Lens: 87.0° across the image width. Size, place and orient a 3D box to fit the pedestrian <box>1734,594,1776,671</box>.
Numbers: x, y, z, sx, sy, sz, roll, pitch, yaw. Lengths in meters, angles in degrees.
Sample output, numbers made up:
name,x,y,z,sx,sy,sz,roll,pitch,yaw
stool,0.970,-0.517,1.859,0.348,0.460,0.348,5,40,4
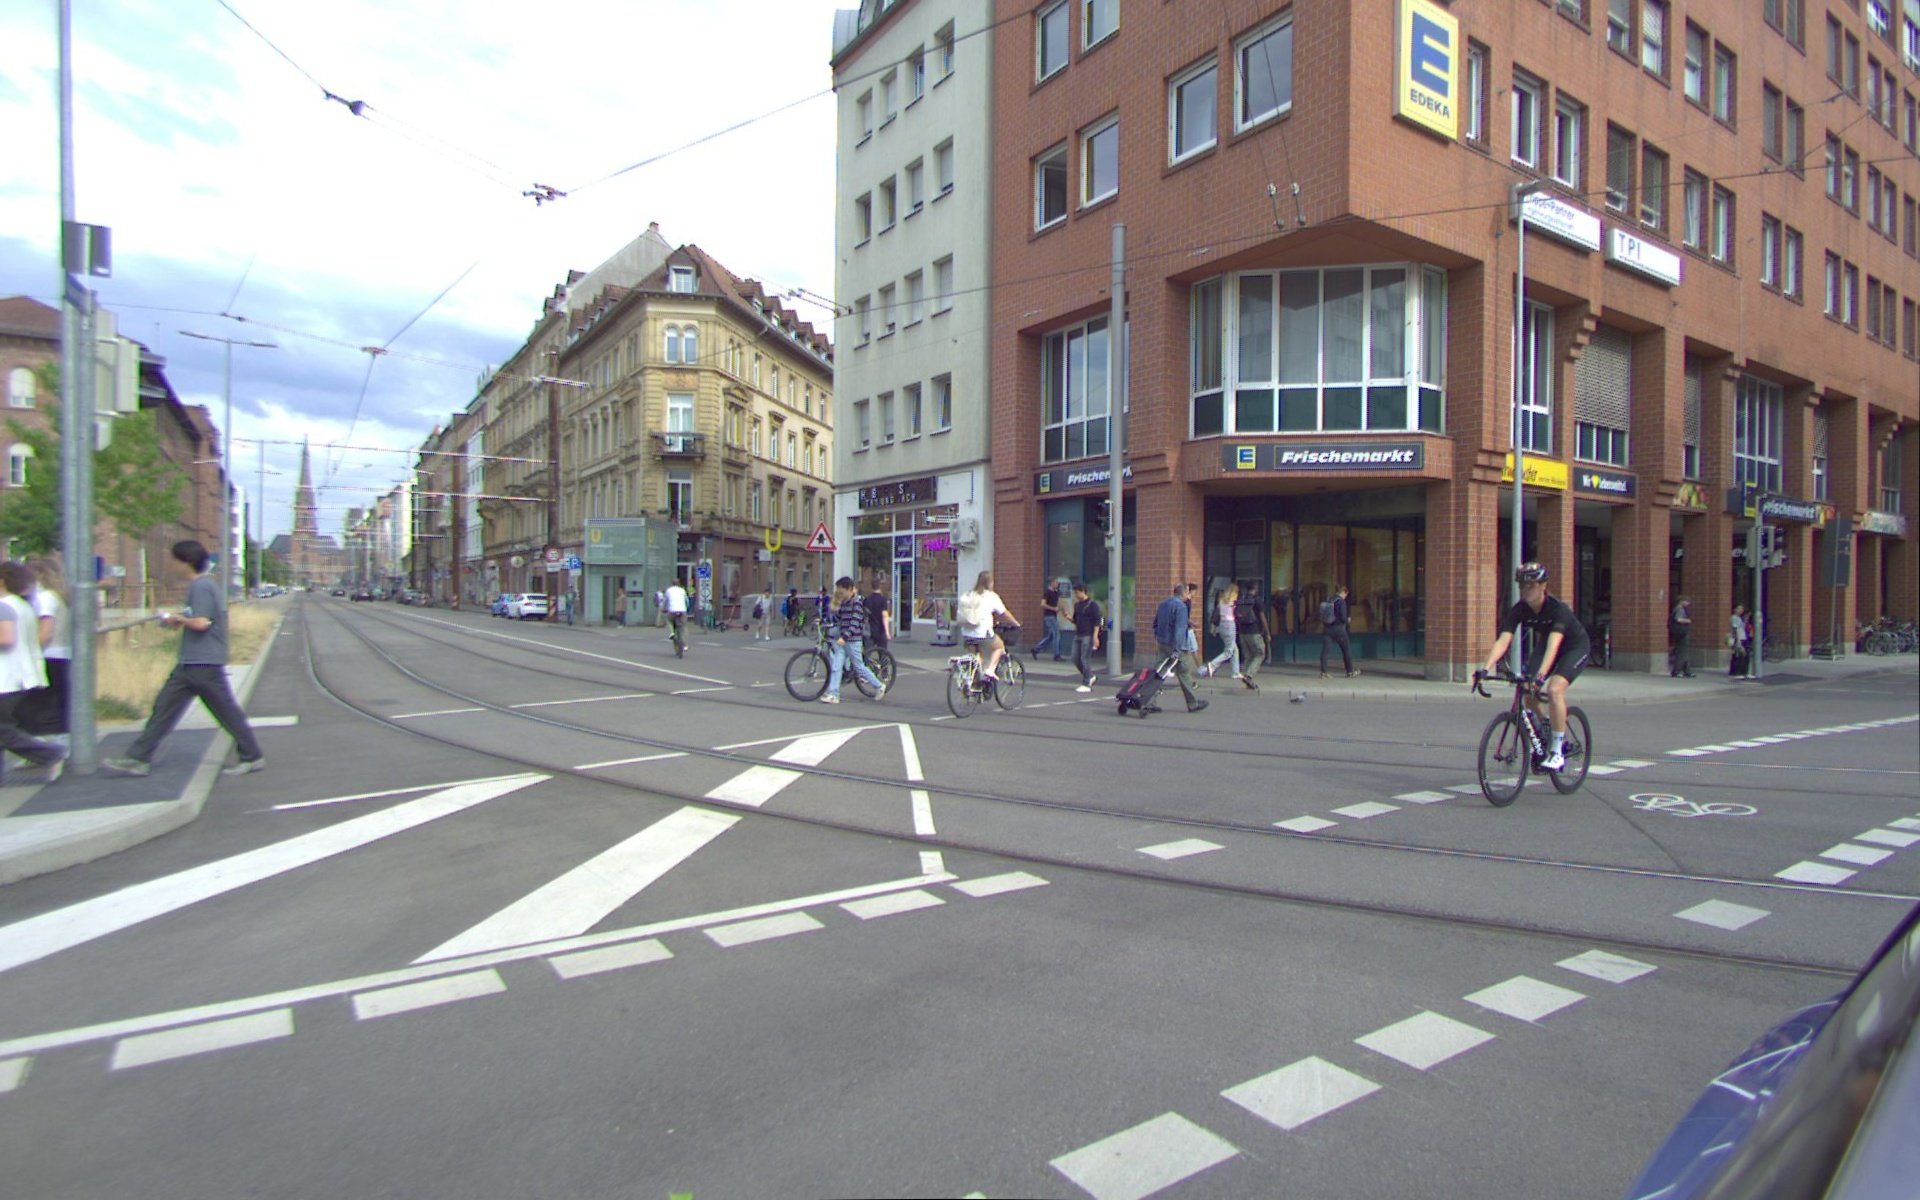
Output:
name,x,y,z,sx,sy,sz,roll,pitch,yaw
pedestrian,17.501,0.704,22.284,0.717,1.652,0.408,1,2,-26

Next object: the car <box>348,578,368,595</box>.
name,x,y,z,sx,sy,sz,roll,pitch,yaw
car,-73.529,-1.682,123.636,1.921,1.928,4.001,0,-1,-33

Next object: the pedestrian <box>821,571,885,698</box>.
name,x,y,z,sx,sy,sz,roll,pitch,yaw
pedestrian,-1.485,0.467,14.031,0.712,1.707,0.521,1,0,-33

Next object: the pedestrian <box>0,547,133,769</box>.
name,x,y,z,sx,sy,sz,roll,pitch,yaw
pedestrian,-7.340,0.442,8.306,0.631,1.716,0.697,1,0,36

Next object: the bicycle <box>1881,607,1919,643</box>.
name,x,y,z,sx,sy,sz,roll,pitch,yaw
bicycle,31.145,0.823,32.786,0.524,1.125,1.862,1,1,-33

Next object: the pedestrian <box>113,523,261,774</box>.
name,x,y,z,sx,sy,sz,roll,pitch,yaw
pedestrian,-6.128,0.360,8.068,0.860,1.878,0.641,1,0,-34

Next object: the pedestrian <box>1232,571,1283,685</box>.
name,x,y,z,sx,sy,sz,roll,pitch,yaw
pedestrian,4.840,0.446,16.465,0.550,1.820,0.543,1,0,-33

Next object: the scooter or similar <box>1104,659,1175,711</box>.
name,x,y,z,sx,sy,sz,roll,pitch,yaw
scooter or similar,2.282,1.071,12.861,0.801,0.581,0.508,0,1,-41

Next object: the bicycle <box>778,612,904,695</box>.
name,x,y,z,sx,sy,sz,roll,pitch,yaw
bicycle,-1.687,0.744,14.528,1.794,1.124,0.398,0,0,-33

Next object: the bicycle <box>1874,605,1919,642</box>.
name,x,y,z,sx,sy,sz,roll,pitch,yaw
bicycle,30.485,0.761,32.312,0.524,1.125,1.862,1,1,-33

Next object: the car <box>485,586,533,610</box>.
name,x,y,z,sx,sy,sz,roll,pitch,yaw
car,-25.871,-0.108,57.961,1.802,1.282,4.155,0,1,-34

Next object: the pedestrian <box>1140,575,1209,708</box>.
name,x,y,z,sx,sy,sz,roll,pitch,yaw
pedestrian,2.841,0.530,13.418,0.588,1.709,0.641,1,0,-33

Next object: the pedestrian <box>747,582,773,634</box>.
name,x,y,z,sx,sy,sz,roll,pitch,yaw
pedestrian,-6.564,0.256,33.270,0.703,1.647,0.793,1,0,-1

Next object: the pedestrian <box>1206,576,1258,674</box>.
name,x,y,z,sx,sy,sz,roll,pitch,yaw
pedestrian,4.856,0.423,18.086,0.638,1.709,0.649,-1,1,-33

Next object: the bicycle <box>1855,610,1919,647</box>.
name,x,y,z,sx,sy,sz,roll,pitch,yaw
bicycle,28.342,0.861,30.591,0.524,1.053,1.862,1,1,-33

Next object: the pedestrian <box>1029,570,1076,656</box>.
name,x,y,z,sx,sy,sz,roll,pitch,yaw
pedestrian,1.982,0.260,21.642,0.692,1.806,0.739,0,0,-32

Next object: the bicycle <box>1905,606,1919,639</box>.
name,x,y,z,sx,sy,sz,roll,pitch,yaw
bicycle,33.891,0.800,34.879,0.524,1.155,1.862,1,1,-33

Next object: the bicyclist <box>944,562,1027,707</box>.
name,x,y,z,sx,sy,sz,roll,pitch,yaw
bicyclist,0.327,0.406,12.665,0.639,1.731,0.850,1,0,39

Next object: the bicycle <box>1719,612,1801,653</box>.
name,x,y,z,sx,sy,sz,roll,pitch,yaw
bicycle,22.929,0.917,29.022,1.832,1.097,0.484,2,2,7

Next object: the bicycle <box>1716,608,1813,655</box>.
name,x,y,z,sx,sy,sz,roll,pitch,yaw
bicycle,20.621,0.802,25.970,1.832,1.097,0.629,2,2,7

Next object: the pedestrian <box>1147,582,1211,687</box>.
name,x,y,z,sx,sy,sz,roll,pitch,yaw
pedestrian,3.604,0.548,16.639,0.875,1.672,0.543,1,0,-34

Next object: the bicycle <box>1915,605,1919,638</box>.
name,x,y,z,sx,sy,sz,roll,pitch,yaw
bicycle,34.526,0.797,35.171,0.524,1.155,1.862,1,1,-33

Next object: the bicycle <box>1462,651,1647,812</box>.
name,x,y,z,sx,sy,sz,roll,pitch,yaw
bicycle,4.437,0.920,7.515,1.714,1.013,0.489,0,0,-34

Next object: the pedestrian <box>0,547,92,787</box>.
name,x,y,z,sx,sy,sz,roll,pitch,yaw
pedestrian,-6.907,0.473,7.427,0.781,1.707,0.469,0,0,-38

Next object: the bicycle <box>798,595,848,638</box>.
name,x,y,z,sx,sy,sz,roll,pitch,yaw
bicycle,-4.067,0.480,29.954,0.534,1.219,1.803,1,0,-43

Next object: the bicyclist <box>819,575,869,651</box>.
name,x,y,z,sx,sy,sz,roll,pitch,yaw
bicyclist,-2.478,0.259,21.719,0.736,1.578,0.941,1,0,18

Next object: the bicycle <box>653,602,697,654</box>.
name,x,y,z,sx,sy,sz,roll,pitch,yaw
bicycle,-6.444,0.601,22.952,0.384,1.100,1.919,1,0,2

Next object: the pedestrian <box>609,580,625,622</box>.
name,x,y,z,sx,sy,sz,roll,pitch,yaw
pedestrian,-13.995,0.045,41.312,0.505,1.706,0.425,1,0,-32

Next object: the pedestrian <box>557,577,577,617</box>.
name,x,y,z,sx,sy,sz,roll,pitch,yaw
pedestrian,-16.920,-0.126,43.622,0.593,1.706,0.735,-3,1,-10

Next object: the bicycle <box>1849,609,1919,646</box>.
name,x,y,z,sx,sy,sz,roll,pitch,yaw
bicycle,28.725,0.825,31.235,0.524,1.053,1.862,1,1,-33

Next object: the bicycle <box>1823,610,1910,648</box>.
name,x,y,z,sx,sy,sz,roll,pitch,yaw
bicycle,27.031,0.860,30.220,0.498,1.053,1.862,1,0,-33

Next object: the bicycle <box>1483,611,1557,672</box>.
name,x,y,z,sx,sy,sz,roll,pitch,yaw
bicycle,11.169,0.812,20.166,1.666,1.105,0.567,-1,3,-34

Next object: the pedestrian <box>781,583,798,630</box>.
name,x,y,z,sx,sy,sz,roll,pitch,yaw
pedestrian,-6.398,0.233,37.947,0.579,1.744,0.521,0,0,-13

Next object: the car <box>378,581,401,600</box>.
name,x,y,z,sx,sy,sz,roll,pitch,yaw
car,-62.022,-1.046,109.942,1.961,1.928,4.001,0,-1,-33

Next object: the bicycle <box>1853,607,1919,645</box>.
name,x,y,z,sx,sy,sz,roll,pitch,yaw
bicycle,29.530,0.801,31.994,0.524,1.125,1.862,1,1,-33

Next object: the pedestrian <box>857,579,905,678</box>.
name,x,y,z,sx,sy,sz,roll,pitch,yaw
pedestrian,-1.357,0.482,17.466,0.694,1.669,0.720,1,0,4

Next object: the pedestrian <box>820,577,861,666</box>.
name,x,y,z,sx,sy,sz,roll,pitch,yaw
pedestrian,-2.095,0.373,17.791,0.582,1.530,0.629,1,-1,4

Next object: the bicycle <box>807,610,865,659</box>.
name,x,y,z,sx,sy,sz,roll,pitch,yaw
bicycle,-2.626,0.717,21.606,0.536,0.962,1.797,1,0,17

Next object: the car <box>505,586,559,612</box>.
name,x,y,z,sx,sy,sz,roll,pitch,yaw
car,-21.954,-0.069,51.828,1.802,1.282,4.155,0,1,-34

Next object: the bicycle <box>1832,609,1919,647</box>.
name,x,y,z,sx,sy,sz,roll,pitch,yaw
bicycle,27.619,0.835,30.557,0.524,1.053,1.862,1,1,-33

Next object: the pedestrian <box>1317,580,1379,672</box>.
name,x,y,z,sx,sy,sz,roll,pitch,yaw
pedestrian,7.056,0.455,18.405,0.904,1.621,0.621,1,0,-34

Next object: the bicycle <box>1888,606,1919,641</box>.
name,x,y,z,sx,sy,sz,roll,pitch,yaw
bicycle,31.697,0.784,33.107,0.524,1.125,1.862,1,1,-33

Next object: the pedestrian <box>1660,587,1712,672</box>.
name,x,y,z,sx,sy,sz,roll,pitch,yaw
pedestrian,15.196,0.595,21.183,0.685,1.717,0.648,0,2,-36

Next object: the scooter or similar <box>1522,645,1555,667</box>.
name,x,y,z,sx,sy,sz,roll,pitch,yaw
scooter or similar,12.096,1.165,21.153,0.875,0.424,0.263,1,0,-36

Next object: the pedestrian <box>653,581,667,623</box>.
name,x,y,z,sx,sy,sz,roll,pitch,yaw
pedestrian,-12.418,0.075,41.899,0.416,1.706,0.515,1,0,0

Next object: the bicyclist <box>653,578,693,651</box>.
name,x,y,z,sx,sy,sz,roll,pitch,yaw
bicyclist,-6.565,0.326,23.188,0.631,1.623,0.862,1,0,2

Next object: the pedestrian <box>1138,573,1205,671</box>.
name,x,y,z,sx,sy,sz,roll,pitch,yaw
pedestrian,3.866,0.375,18.503,1.036,1.736,0.649,0,0,-34

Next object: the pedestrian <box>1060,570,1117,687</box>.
name,x,y,z,sx,sy,sz,roll,pitch,yaw
pedestrian,2.084,0.453,16.479,0.682,1.847,0.569,1,0,-34

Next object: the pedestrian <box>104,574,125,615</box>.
name,x,y,z,sx,sy,sz,roll,pitch,yaw
pedestrian,-42.826,-0.284,51.285,0.746,2.039,0.908,0,0,-37

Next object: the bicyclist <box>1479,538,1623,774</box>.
name,x,y,z,sx,sy,sz,roll,pitch,yaw
bicyclist,4.369,0.386,7.482,0.831,1.624,0.614,0,-1,-34

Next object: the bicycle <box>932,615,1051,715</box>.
name,x,y,z,sx,sy,sz,roll,pitch,yaw
bicycle,0.445,0.784,12.866,0.389,1.136,2.048,1,1,37

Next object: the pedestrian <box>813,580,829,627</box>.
name,x,y,z,sx,sy,sz,roll,pitch,yaw
pedestrian,-5.231,0.113,37.964,0.530,1.744,0.521,0,0,-13
